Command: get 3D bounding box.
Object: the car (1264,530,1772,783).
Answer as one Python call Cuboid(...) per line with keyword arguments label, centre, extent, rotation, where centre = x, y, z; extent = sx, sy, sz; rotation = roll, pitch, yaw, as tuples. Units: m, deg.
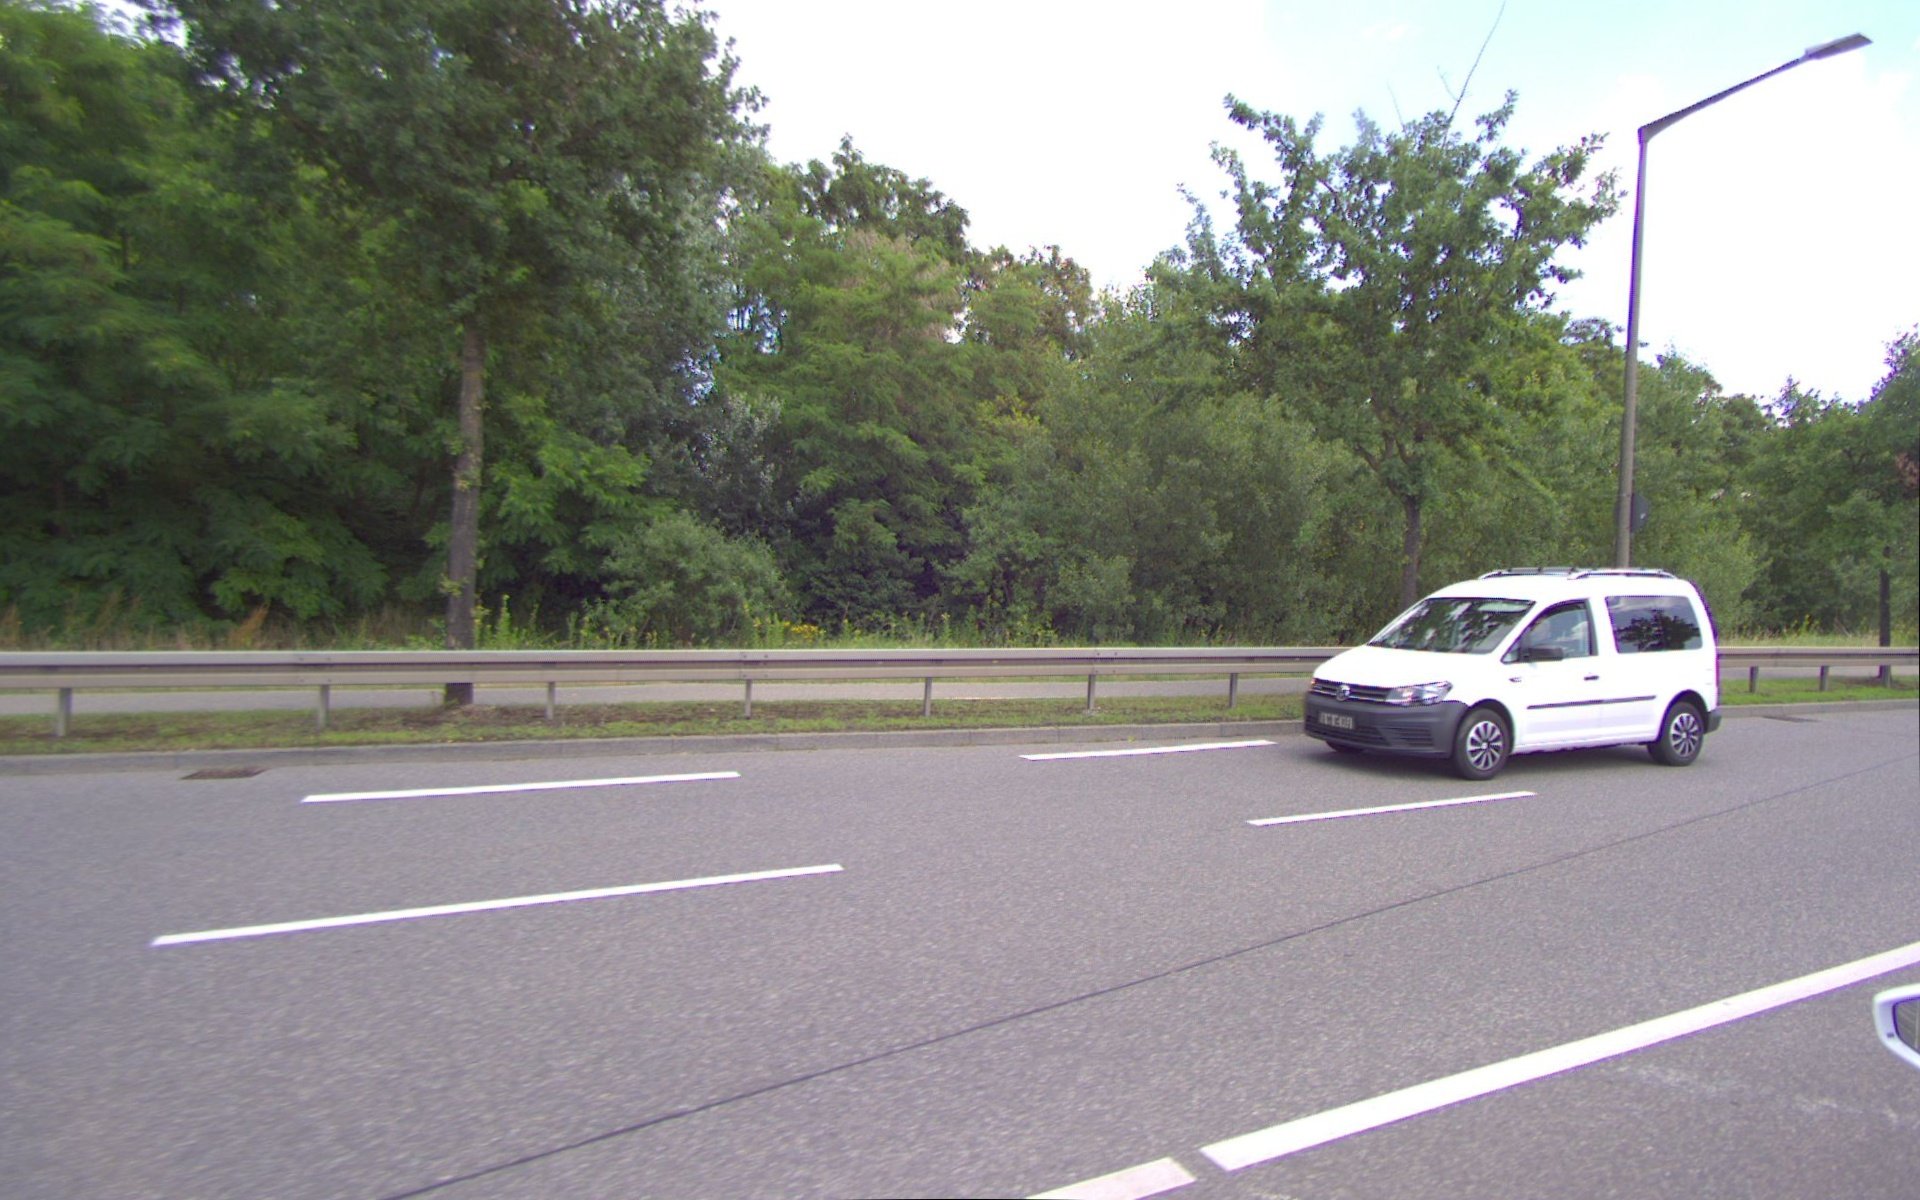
Cuboid(label="car", centre=(5.487, 0.463, 9.908), extent=(4.493, 2.041, 1.989), rotation=(1, 2, -23))
